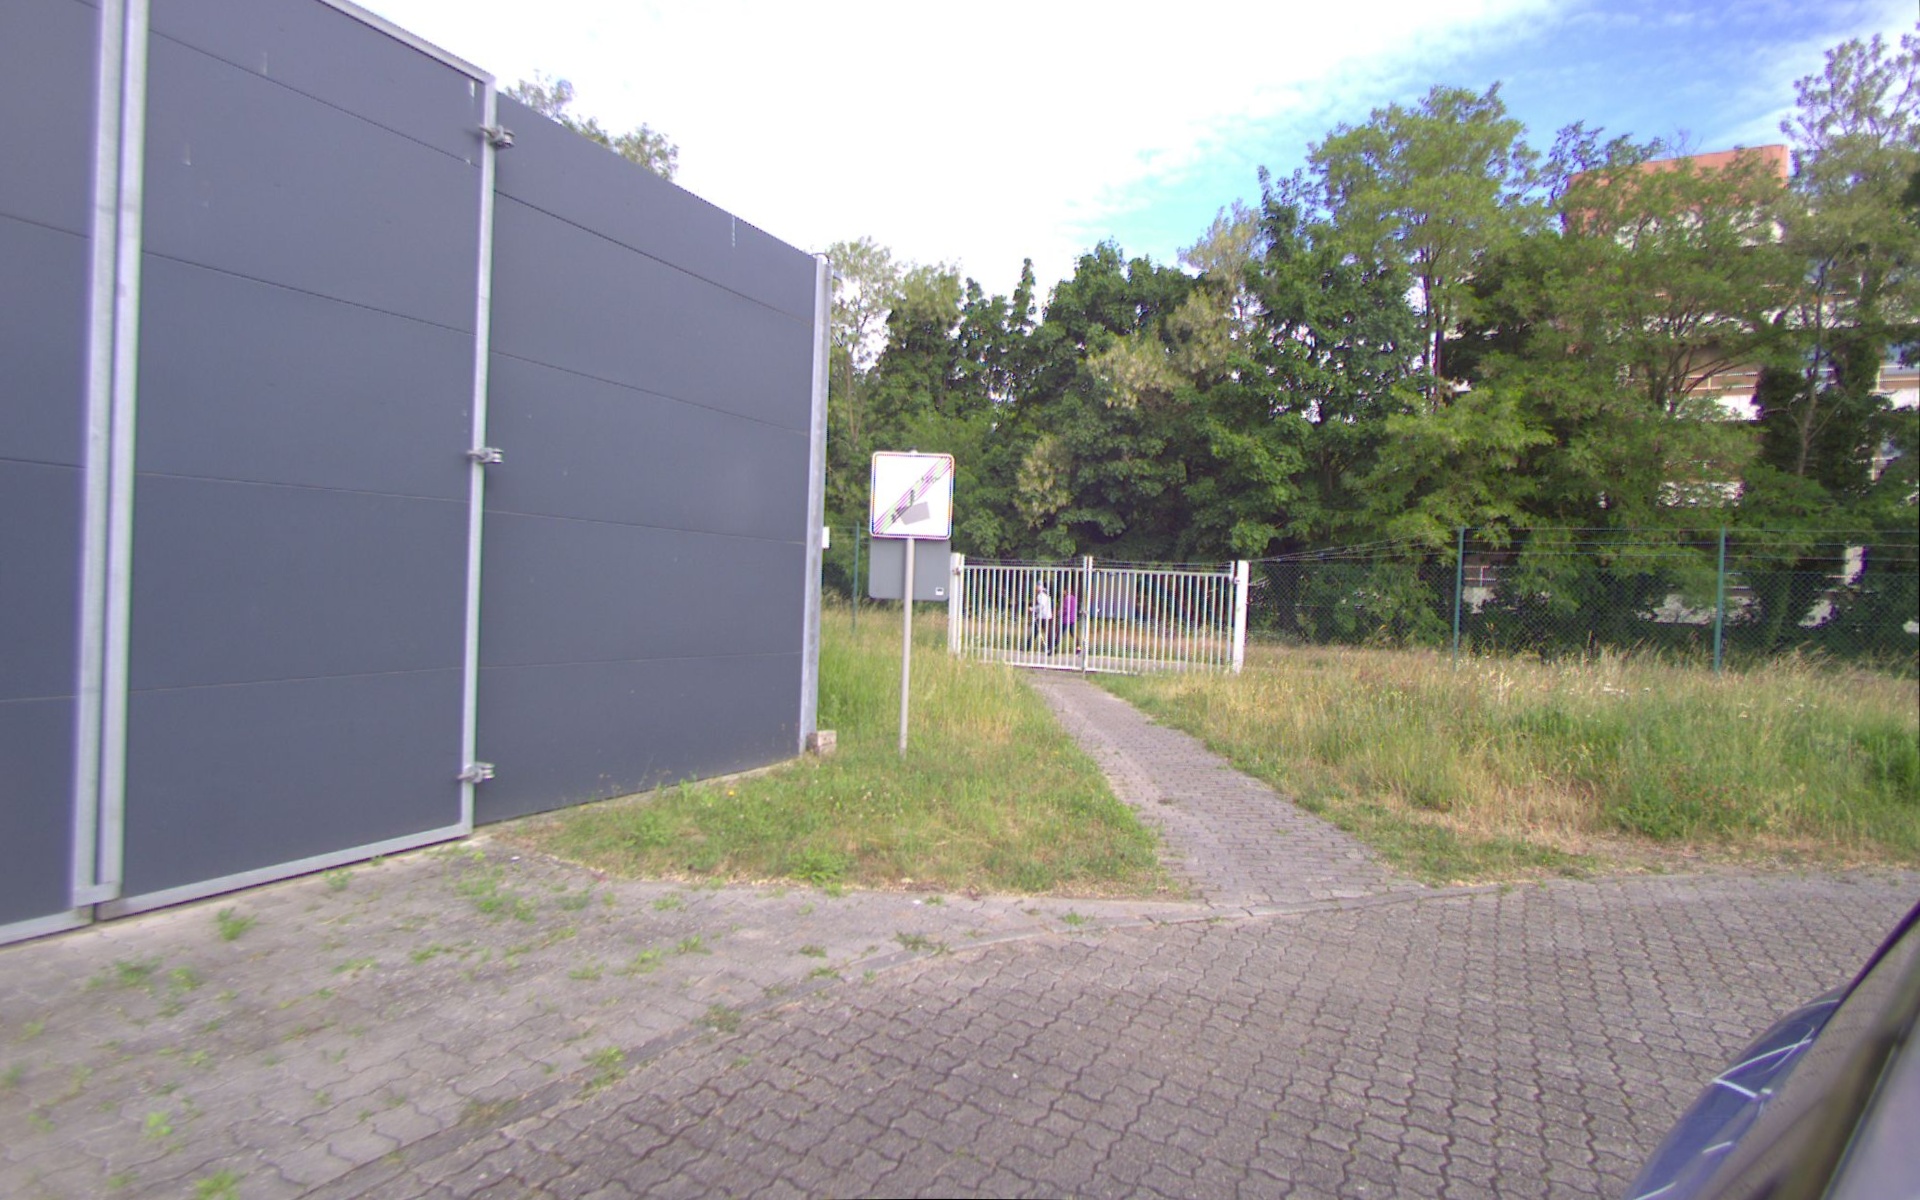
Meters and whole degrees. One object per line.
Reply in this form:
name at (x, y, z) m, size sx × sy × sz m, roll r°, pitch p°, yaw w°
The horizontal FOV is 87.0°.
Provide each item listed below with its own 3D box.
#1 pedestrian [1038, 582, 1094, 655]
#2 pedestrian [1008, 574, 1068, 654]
pedestrian at (2.440, 0.418, 23.288) m, size 1.027 × 1.593 × 0.729 m, roll 3°, pitch 1°, yaw 31°
pedestrian at (1.754, 0.297, 22.736) m, size 1.031 × 1.703 × 0.834 m, roll 3°, pitch 1°, yaw 34°
